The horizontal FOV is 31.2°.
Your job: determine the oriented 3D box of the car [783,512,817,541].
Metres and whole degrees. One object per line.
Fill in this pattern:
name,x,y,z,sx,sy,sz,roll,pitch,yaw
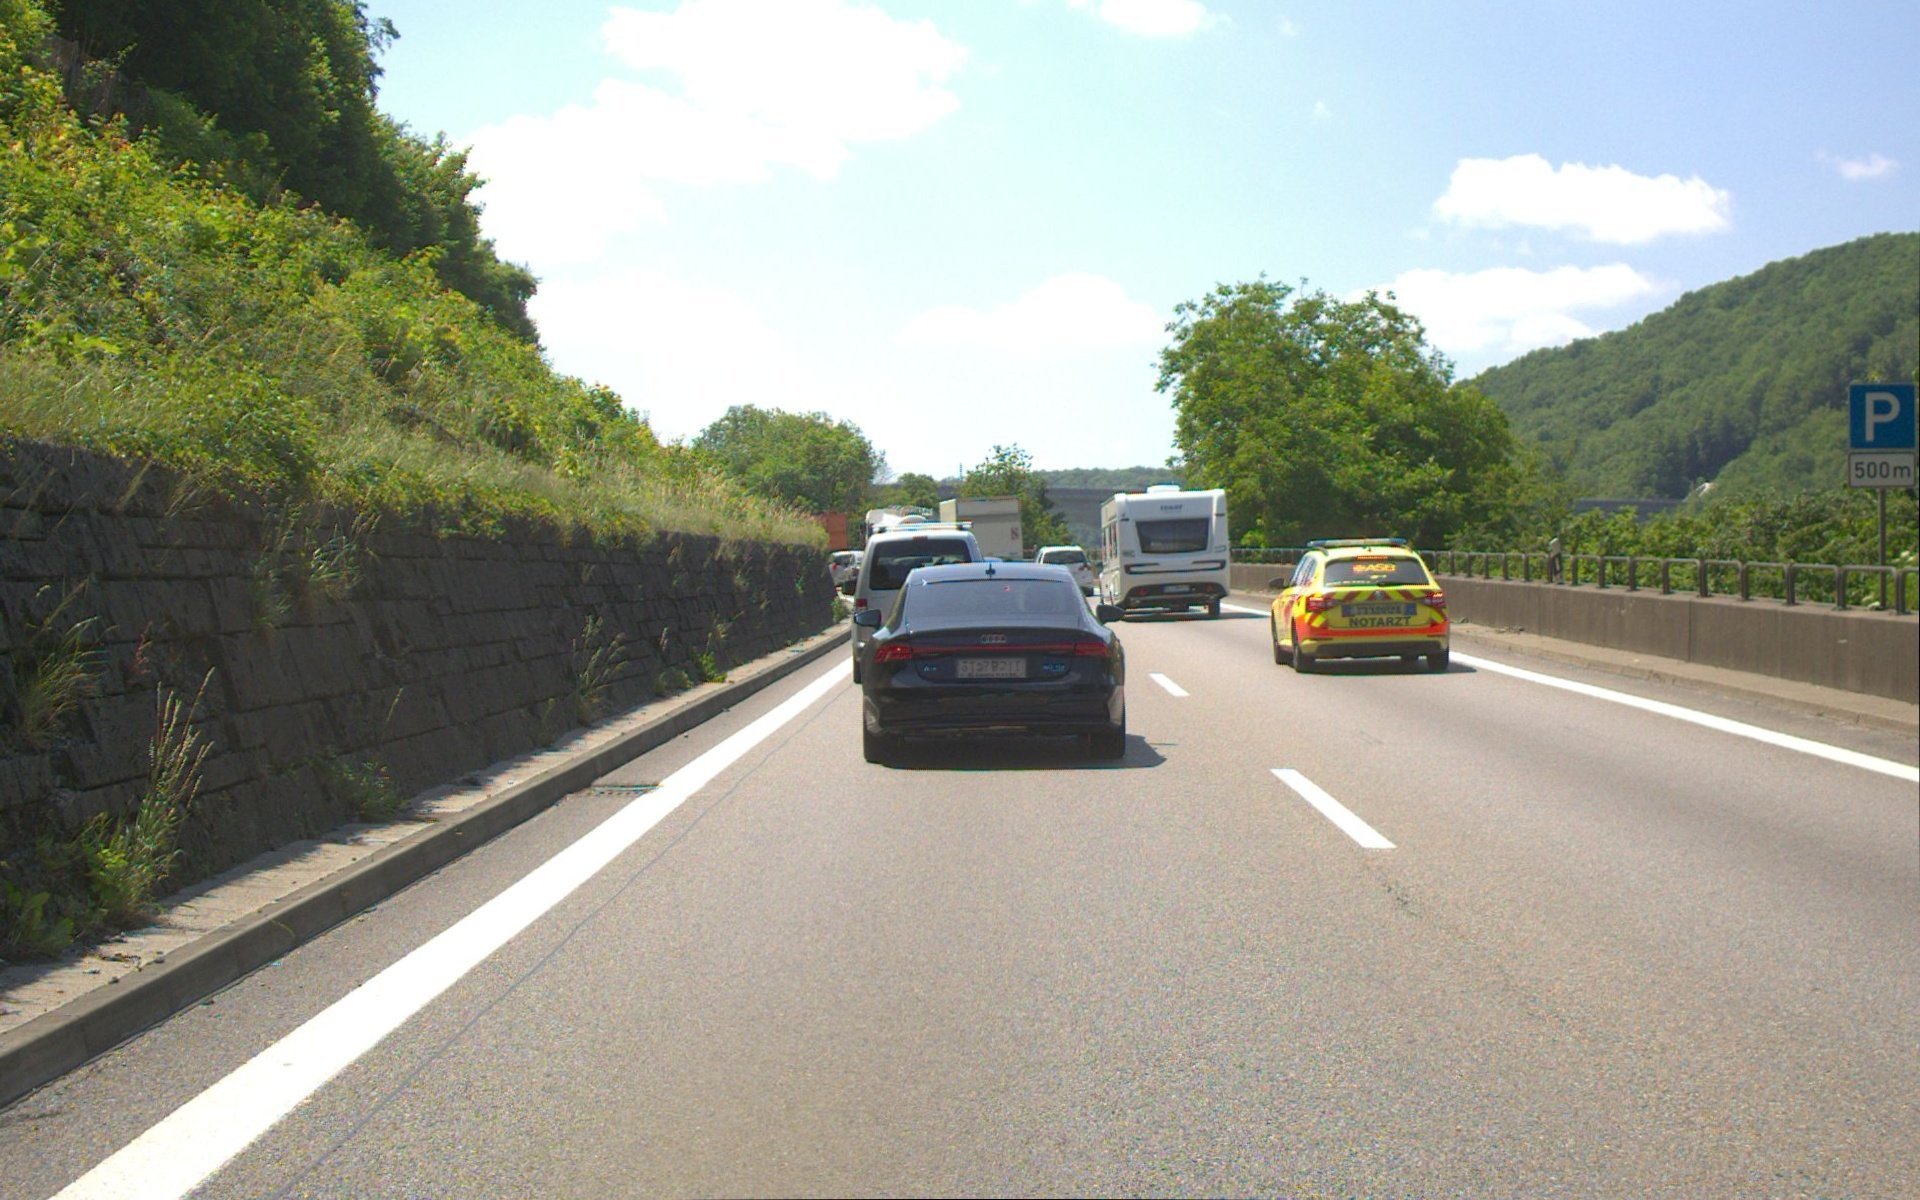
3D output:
car,-11.414,-5.241,244.826,1.993,2.007,4.001,0,1,-8

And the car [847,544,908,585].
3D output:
car,-3.142,-1.346,130.149,1.993,1.459,4.001,1,1,-6

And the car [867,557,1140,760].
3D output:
car,0.286,0.402,25.577,1.837,1.345,4.000,2,0,0

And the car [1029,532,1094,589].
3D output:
car,3.094,-1.229,104.967,1.841,1.711,4.000,0,1,0

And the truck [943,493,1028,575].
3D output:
truck,0.945,-2.588,135.146,2.840,3.120,7.481,0,1,-3

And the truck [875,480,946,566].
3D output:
truck,-2.416,-3.703,166.122,2.732,4.082,7.481,0,1,-6

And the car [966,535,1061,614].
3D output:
car,1.116,-0.525,73.515,1.773,1.631,4.000,0,0,-3

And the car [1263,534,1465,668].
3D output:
car,4.779,0.010,41.195,1.863,1.483,4.000,2,0,-1

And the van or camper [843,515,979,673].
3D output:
van or camper,-0.640,-0.073,42.187,1.391,1.809,4.000,2,0,-4

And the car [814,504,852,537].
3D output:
car,-8.054,-5.046,217.978,1.993,2.007,4.001,1,1,-8

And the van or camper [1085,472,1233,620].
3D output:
van or camper,4.108,-1.087,72.046,2.455,2.908,6.126,2,0,-2
